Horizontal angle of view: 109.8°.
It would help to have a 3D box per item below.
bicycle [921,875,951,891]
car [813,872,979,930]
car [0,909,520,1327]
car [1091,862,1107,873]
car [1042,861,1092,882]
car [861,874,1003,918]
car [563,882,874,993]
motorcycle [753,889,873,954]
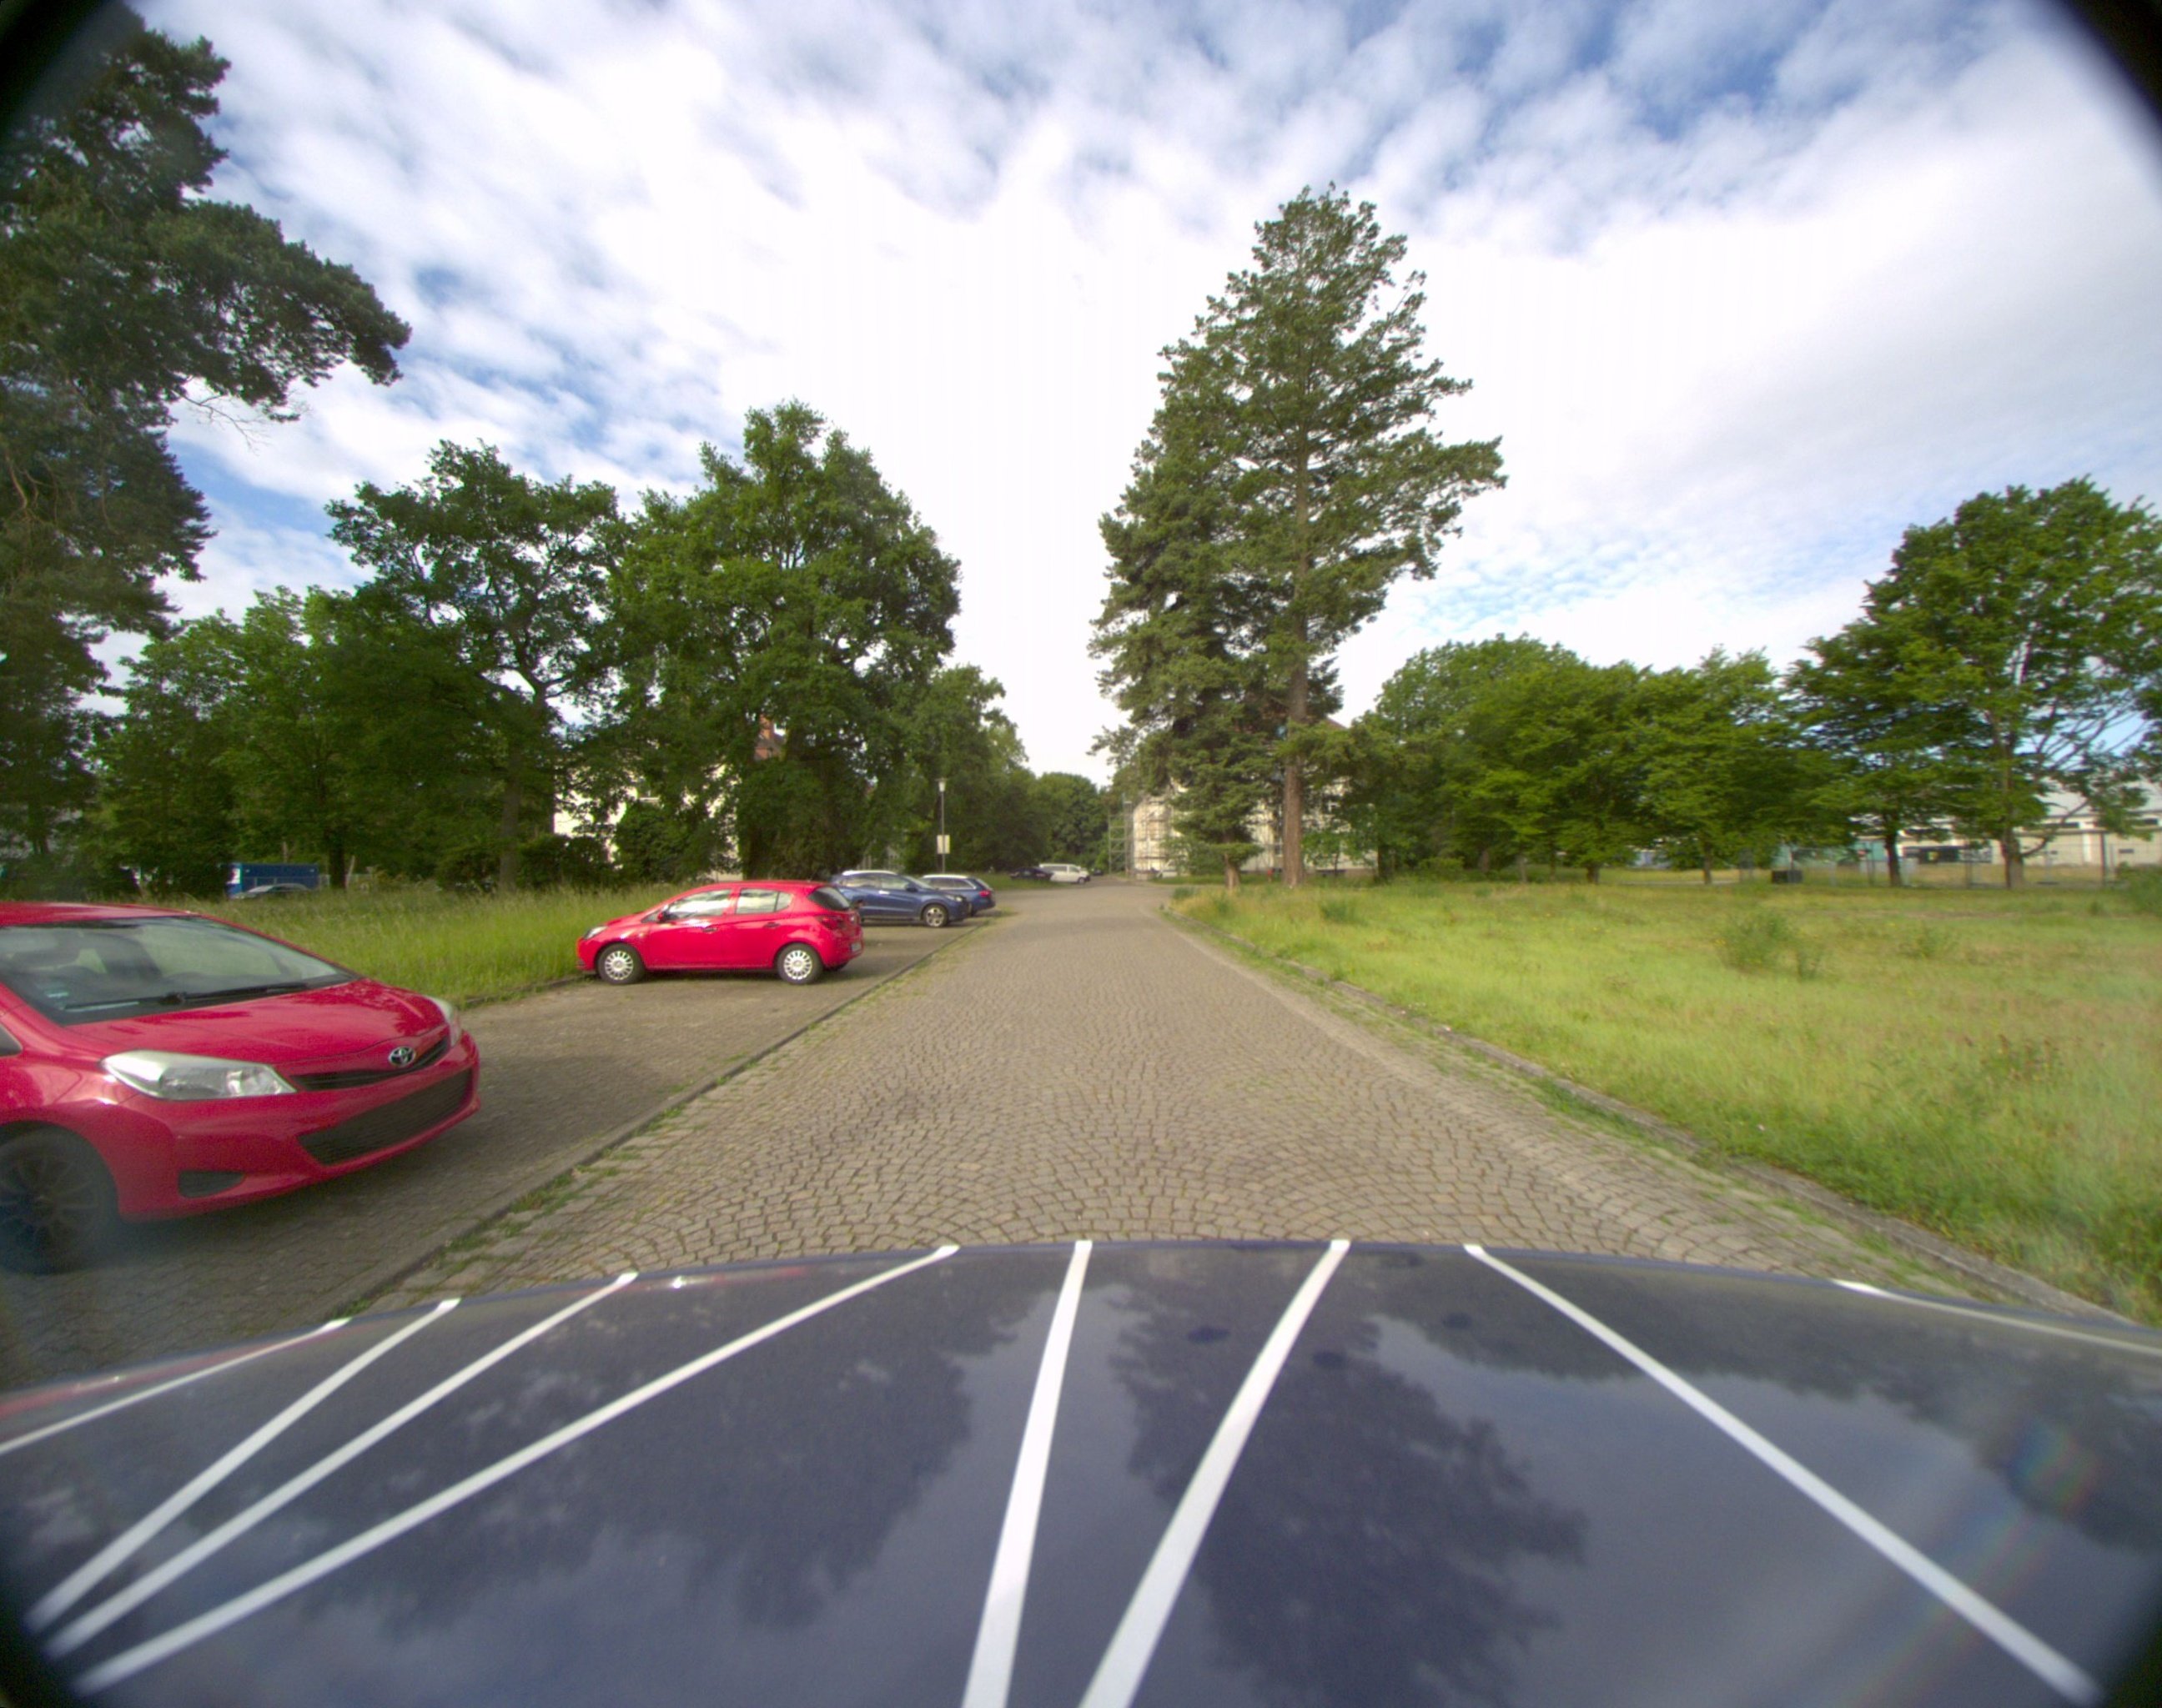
[{"bbox_3d":[-10.472,2.094,54.896,2.020,1.082,0.478,0,2,-22],"label":"bicycle"},{"bbox_3d":[-5.194,1.316,21.740,4.274,1.564,1.895,0,-1,-1],"label":"car"},{"bbox_3d":[-5.478,1.118,3.815,3.997,1.509,1.738,-1,-1,0],"label":"car"},{"bbox_3d":[3.312,2.484,141.582,2.029,1.915,3.997,-1,-1,-11],"label":"car"},{"bbox_3d":[-1.393,1.719,75.253,4.916,1.982,2.000,-1,-1,-3],"label":"car"},{"bbox_3d":[-5.119,1.438,26.520,4.515,1.456,1.896,0,-1,3],"label":"car"},{"bbox_3d":[-5.263,1.192,11.433,3.849,1.496,1.738,0,-1,-1],"label":"car"},{"bbox_3d":[-5.534,1.376,15.777,2.271,1.267,0.605,0,0,-5],"label":"motorcycle"}]
